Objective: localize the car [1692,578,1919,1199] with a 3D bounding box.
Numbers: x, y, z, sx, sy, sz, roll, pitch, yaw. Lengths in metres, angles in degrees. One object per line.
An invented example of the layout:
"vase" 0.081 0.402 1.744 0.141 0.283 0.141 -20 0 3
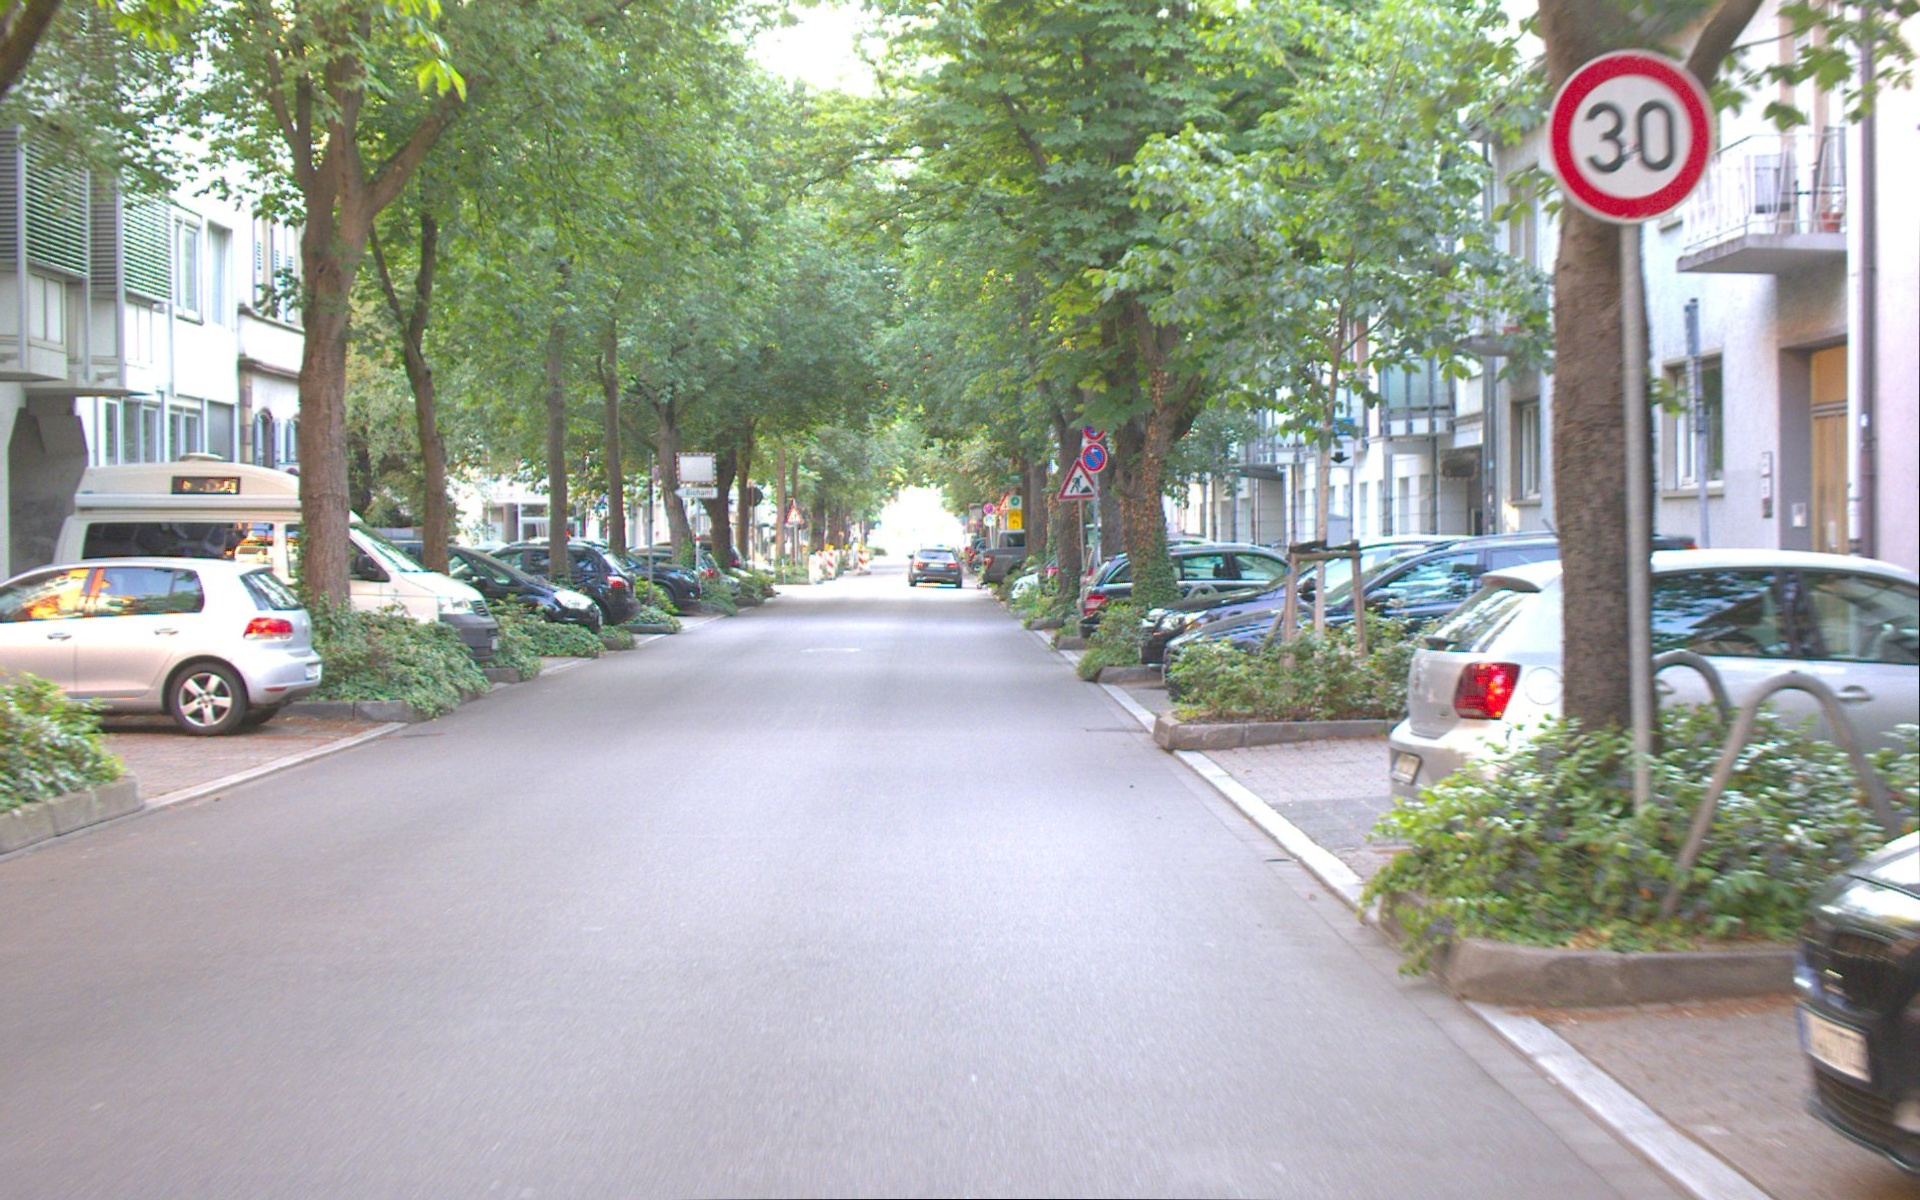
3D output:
"car" 4.173 0.635 7.439 4.711 1.416 2.036 -2 2 0

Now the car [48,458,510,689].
"car" -7.412 -0.295 37.778 4.682 2.469 2.000 0 1 0

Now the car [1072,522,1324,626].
"car" 3.975 -0.450 57.800 4.050 1.592 1.825 -2 1 0

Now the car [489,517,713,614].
"car" -8.019 -0.780 77.107 4.762 1.977 1.963 -2 1 0

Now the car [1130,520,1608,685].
"car" 4.190 0.009 35.780 4.682 1.516 1.963 -2 1 0

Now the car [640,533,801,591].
"car" -7.325 -1.176 105.558 4.762 1.624 1.963 -2 1 0

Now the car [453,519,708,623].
"car" -7.210 -0.564 65.655 4.595 1.801 1.963 -2 1 0

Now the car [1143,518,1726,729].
"car" 3.949 0.169 29.261 4.718 1.704 1.950 0 2 2

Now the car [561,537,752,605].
"car" -7.909 -0.766 89.886 4.762 1.624 1.963 -2 1 0

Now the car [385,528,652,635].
"car" -7.412 -0.320 57.963 4.203 1.630 1.963 -2 1 0

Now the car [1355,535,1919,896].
"car" 3.881 0.452 15.509 3.876 1.435 1.848 -2 2 -3

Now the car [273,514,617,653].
"car" -7.471 -0.252 50.239 4.682 1.848 1.963 -2 1 0

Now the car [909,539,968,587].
"car" -0.729 -1.283 118.423 1.956 1.560 4.282 -2 1 0

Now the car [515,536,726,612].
"car" -8.016 -0.633 81.431 4.762 1.624 1.963 -2 1 0

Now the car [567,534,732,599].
"car" -7.869 -0.848 87.408 3.987 1.505 1.800 -2 1 0

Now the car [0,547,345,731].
"car" -7.370 0.304 29.429 3.871 1.481 1.757 1 1 2

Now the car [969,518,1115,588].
"car" 2.449 -1.407 103.625 4.268 1.955 1.963 -2 1 0

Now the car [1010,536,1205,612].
"car" 3.309 -0.605 77.822 4.268 1.560 1.963 -2 1 0

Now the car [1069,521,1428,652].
"car" 3.712 -0.188 44.690 4.508 1.516 1.995 -2 1 3

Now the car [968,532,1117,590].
"car" 2.392 -1.154 100.867 4.268 1.560 1.963 -2 1 0
